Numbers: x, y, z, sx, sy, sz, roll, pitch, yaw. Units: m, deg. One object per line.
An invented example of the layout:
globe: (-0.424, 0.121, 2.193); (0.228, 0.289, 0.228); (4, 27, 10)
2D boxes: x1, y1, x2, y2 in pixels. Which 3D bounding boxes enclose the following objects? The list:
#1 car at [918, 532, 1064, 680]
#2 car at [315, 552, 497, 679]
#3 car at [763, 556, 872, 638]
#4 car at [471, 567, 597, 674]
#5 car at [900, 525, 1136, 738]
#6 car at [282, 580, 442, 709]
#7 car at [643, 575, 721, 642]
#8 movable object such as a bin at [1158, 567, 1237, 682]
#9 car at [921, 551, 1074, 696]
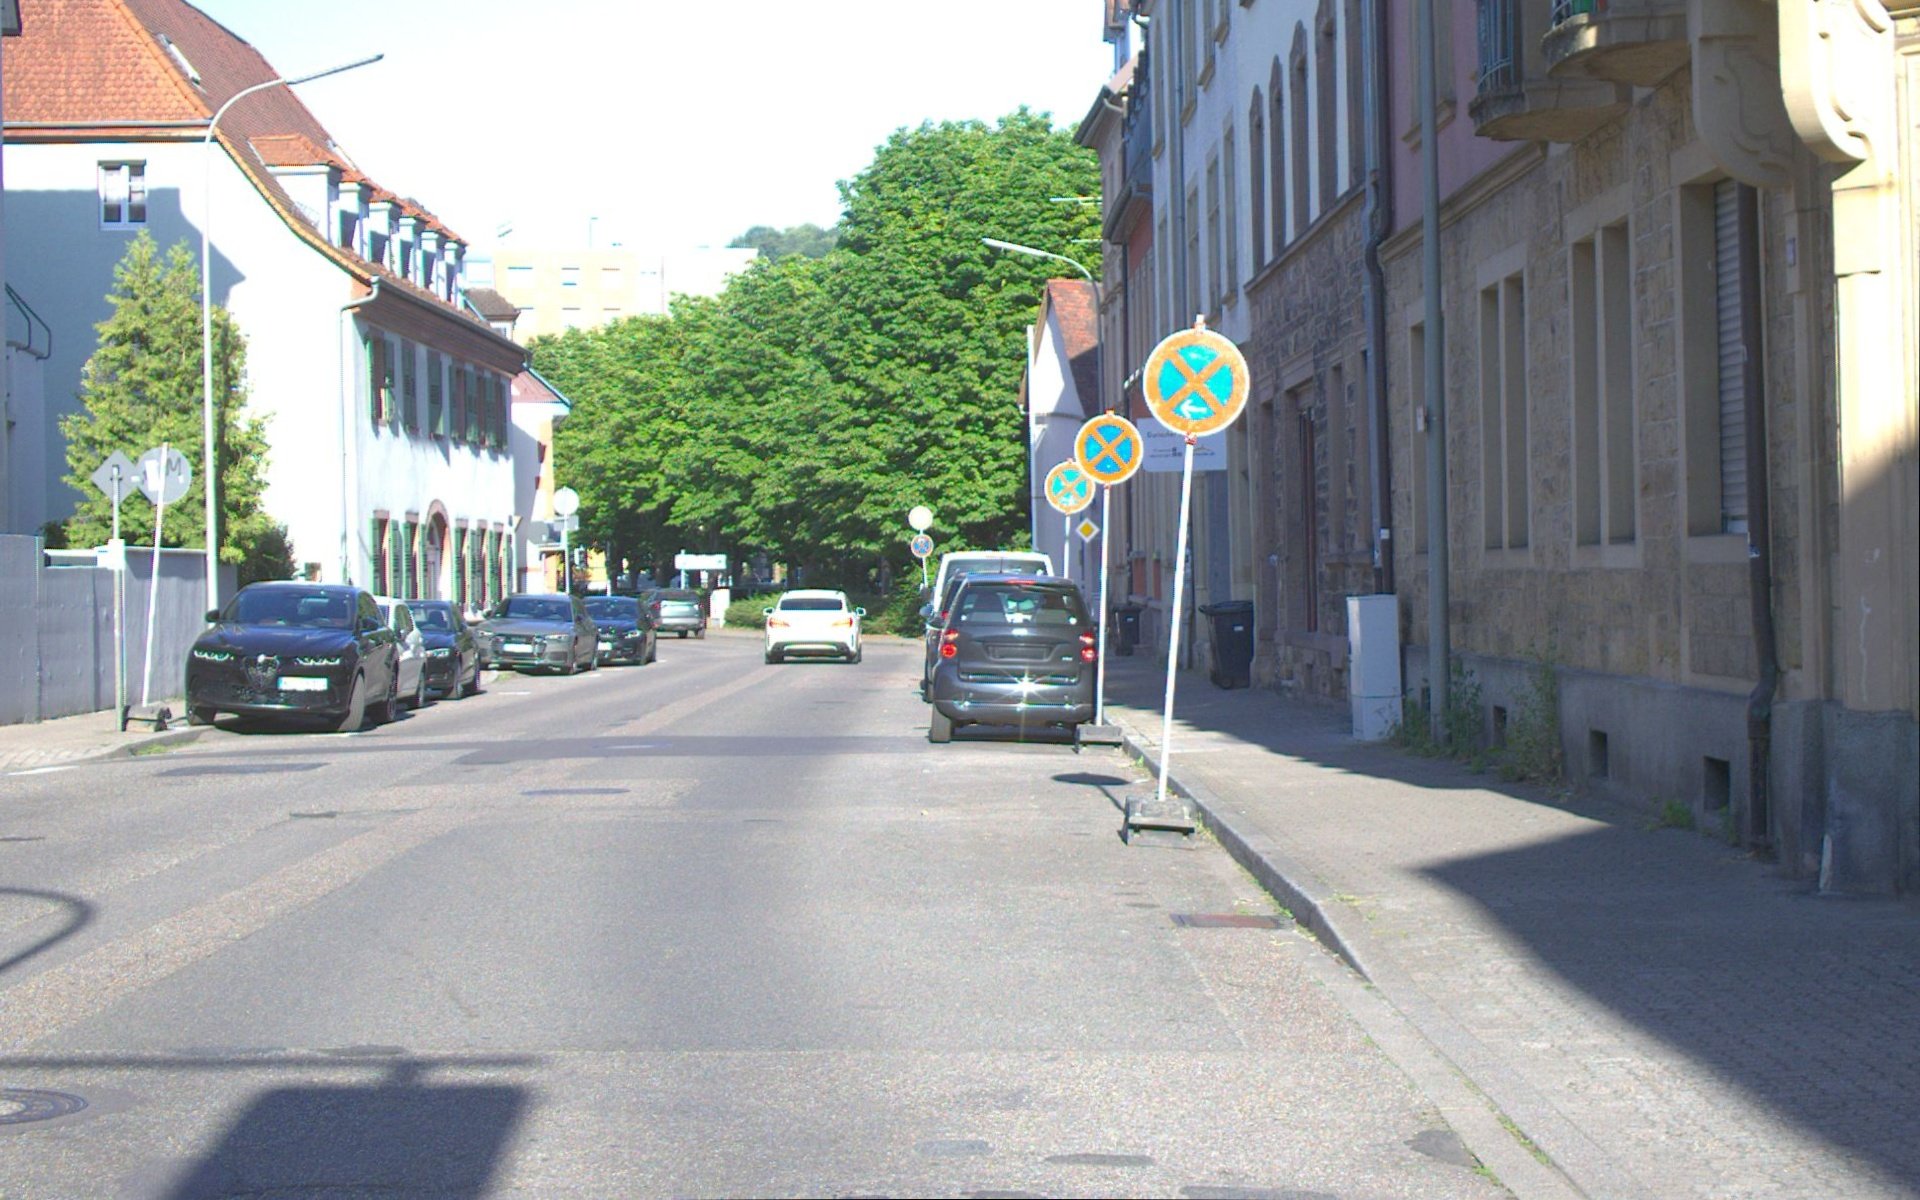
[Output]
car: (0.401, 0.039, 48.927); (1.841, 1.899, 4.001); (-2, 2, -2)
car: (-7.975, 0.185, 49.823); (2.092, 1.625, 3.822); (-2, 2, -2)
car: (-2.783, -0.078, 66.454); (1.993, 1.461, 4.001); (-1, 1, -3)
car: (-7.929, 0.351, 64.282); (1.910, 1.754, 4.129); (-2, 2, -2)
car: (0.479, 0.239, 32.590); (2.011, 1.846, 4.001); (0, 2, -2)
car: (-7.623, 0.538, 44.009); (1.553, 1.453, 3.061); (-2, 2, -2)
car: (-8.937, 0.247, 110.285); (1.993, 2.007, 4.001); (-2, 1, -11)
movable object such as a bin: (2.994, 0.305, 43.417); (0.871, 1.373, 0.685); (-3, 2, -3)
car: (0.512, 0.258, 44.010); (1.818, 1.625, 4.000); (-2, 2, 2)
